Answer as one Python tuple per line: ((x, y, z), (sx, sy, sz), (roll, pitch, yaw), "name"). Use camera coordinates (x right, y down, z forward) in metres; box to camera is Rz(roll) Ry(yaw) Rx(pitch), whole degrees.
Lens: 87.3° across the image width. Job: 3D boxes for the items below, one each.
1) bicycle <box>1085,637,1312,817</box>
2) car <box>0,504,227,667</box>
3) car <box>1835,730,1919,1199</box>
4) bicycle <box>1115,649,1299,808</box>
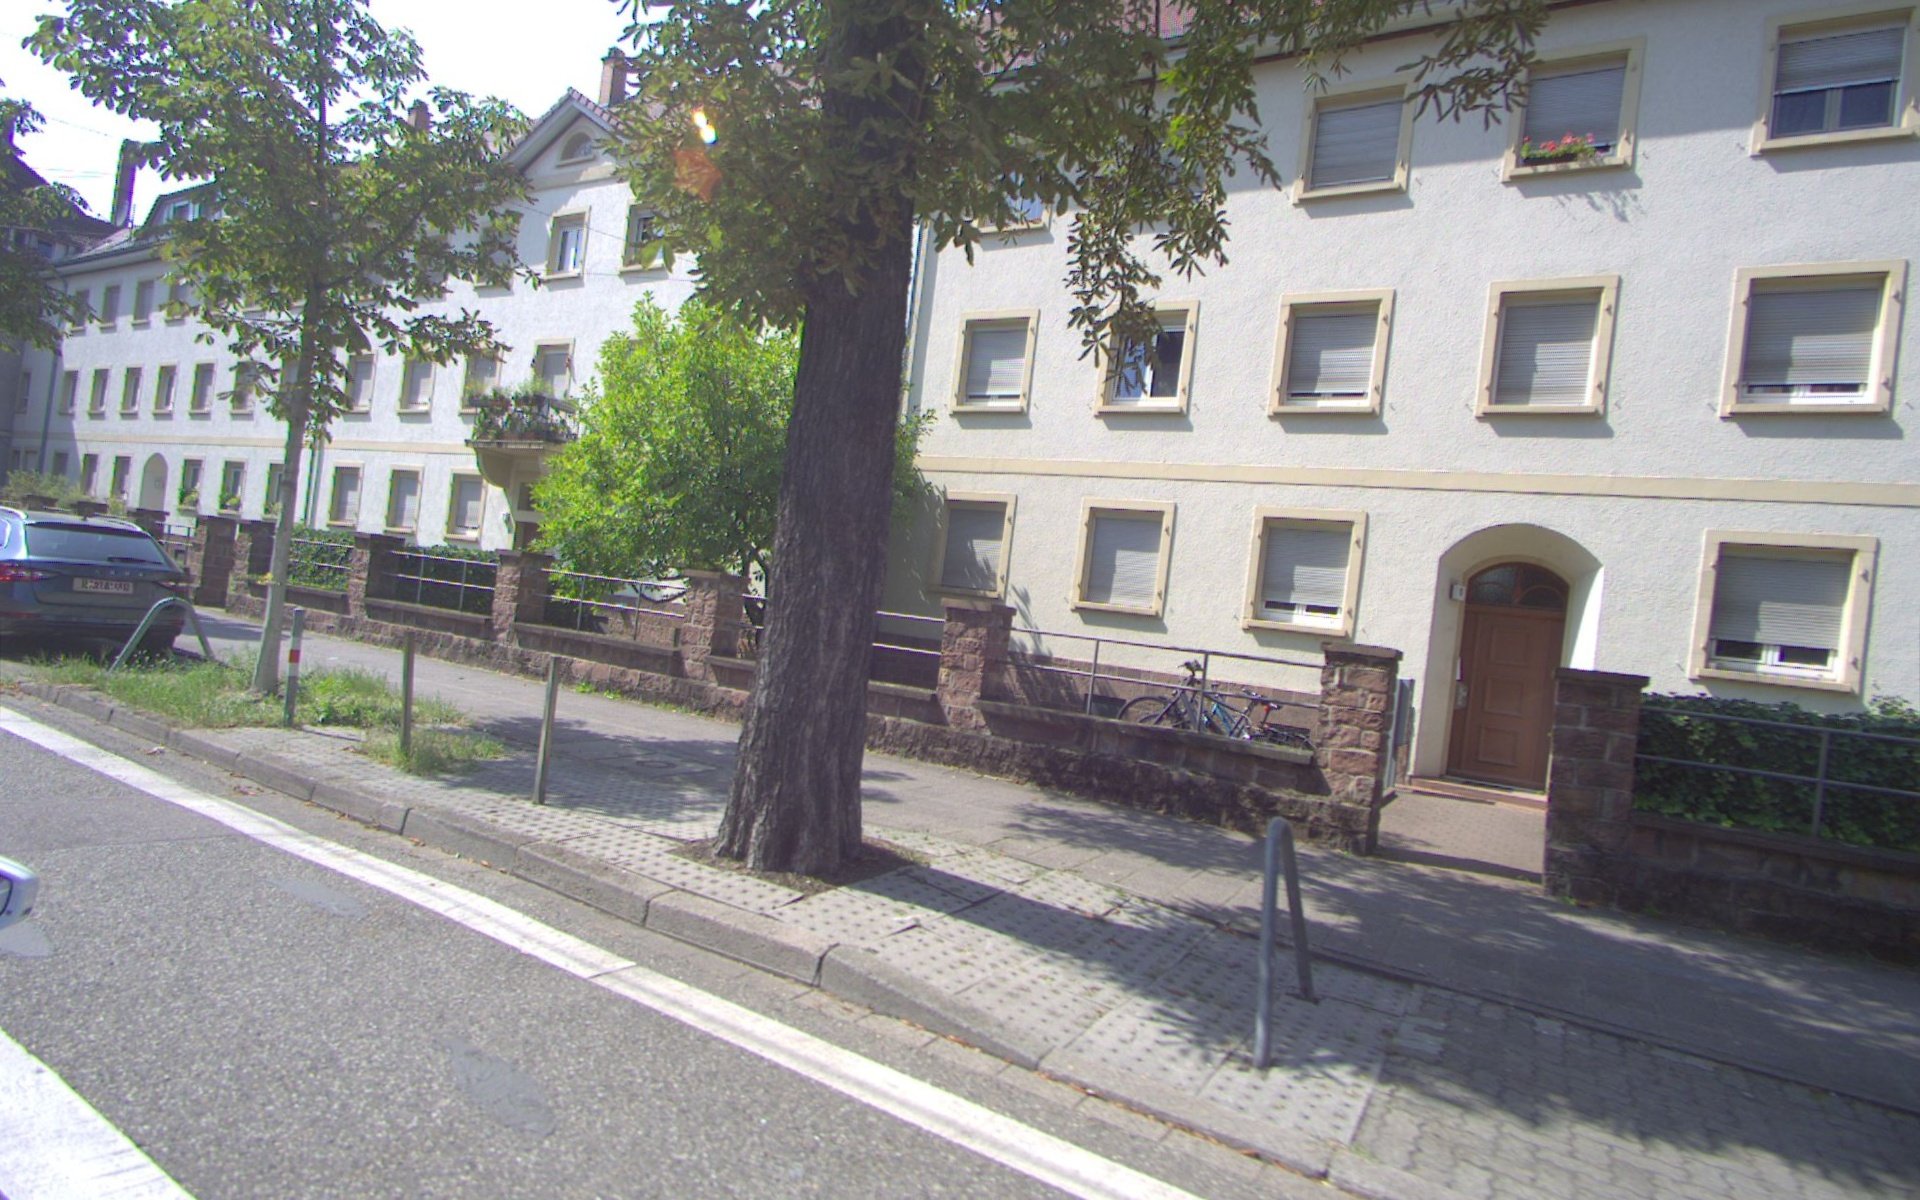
((2.174, 1.127, 9.310), (1.860, 1.349, 0.456), (6, 0, 31), "bicycle")
((-10.726, -0.305, 11.558), (4.759, 1.495, 1.896), (6, -1, 31), "car")
((4.916, 1.381, 2.063), (4.312, 1.495, 1.759), (6, -1, 30), "car")
((2.365, 1.202, 9.724), (1.554, 1.273, 0.402), (6, 0, 31), "bicycle")
